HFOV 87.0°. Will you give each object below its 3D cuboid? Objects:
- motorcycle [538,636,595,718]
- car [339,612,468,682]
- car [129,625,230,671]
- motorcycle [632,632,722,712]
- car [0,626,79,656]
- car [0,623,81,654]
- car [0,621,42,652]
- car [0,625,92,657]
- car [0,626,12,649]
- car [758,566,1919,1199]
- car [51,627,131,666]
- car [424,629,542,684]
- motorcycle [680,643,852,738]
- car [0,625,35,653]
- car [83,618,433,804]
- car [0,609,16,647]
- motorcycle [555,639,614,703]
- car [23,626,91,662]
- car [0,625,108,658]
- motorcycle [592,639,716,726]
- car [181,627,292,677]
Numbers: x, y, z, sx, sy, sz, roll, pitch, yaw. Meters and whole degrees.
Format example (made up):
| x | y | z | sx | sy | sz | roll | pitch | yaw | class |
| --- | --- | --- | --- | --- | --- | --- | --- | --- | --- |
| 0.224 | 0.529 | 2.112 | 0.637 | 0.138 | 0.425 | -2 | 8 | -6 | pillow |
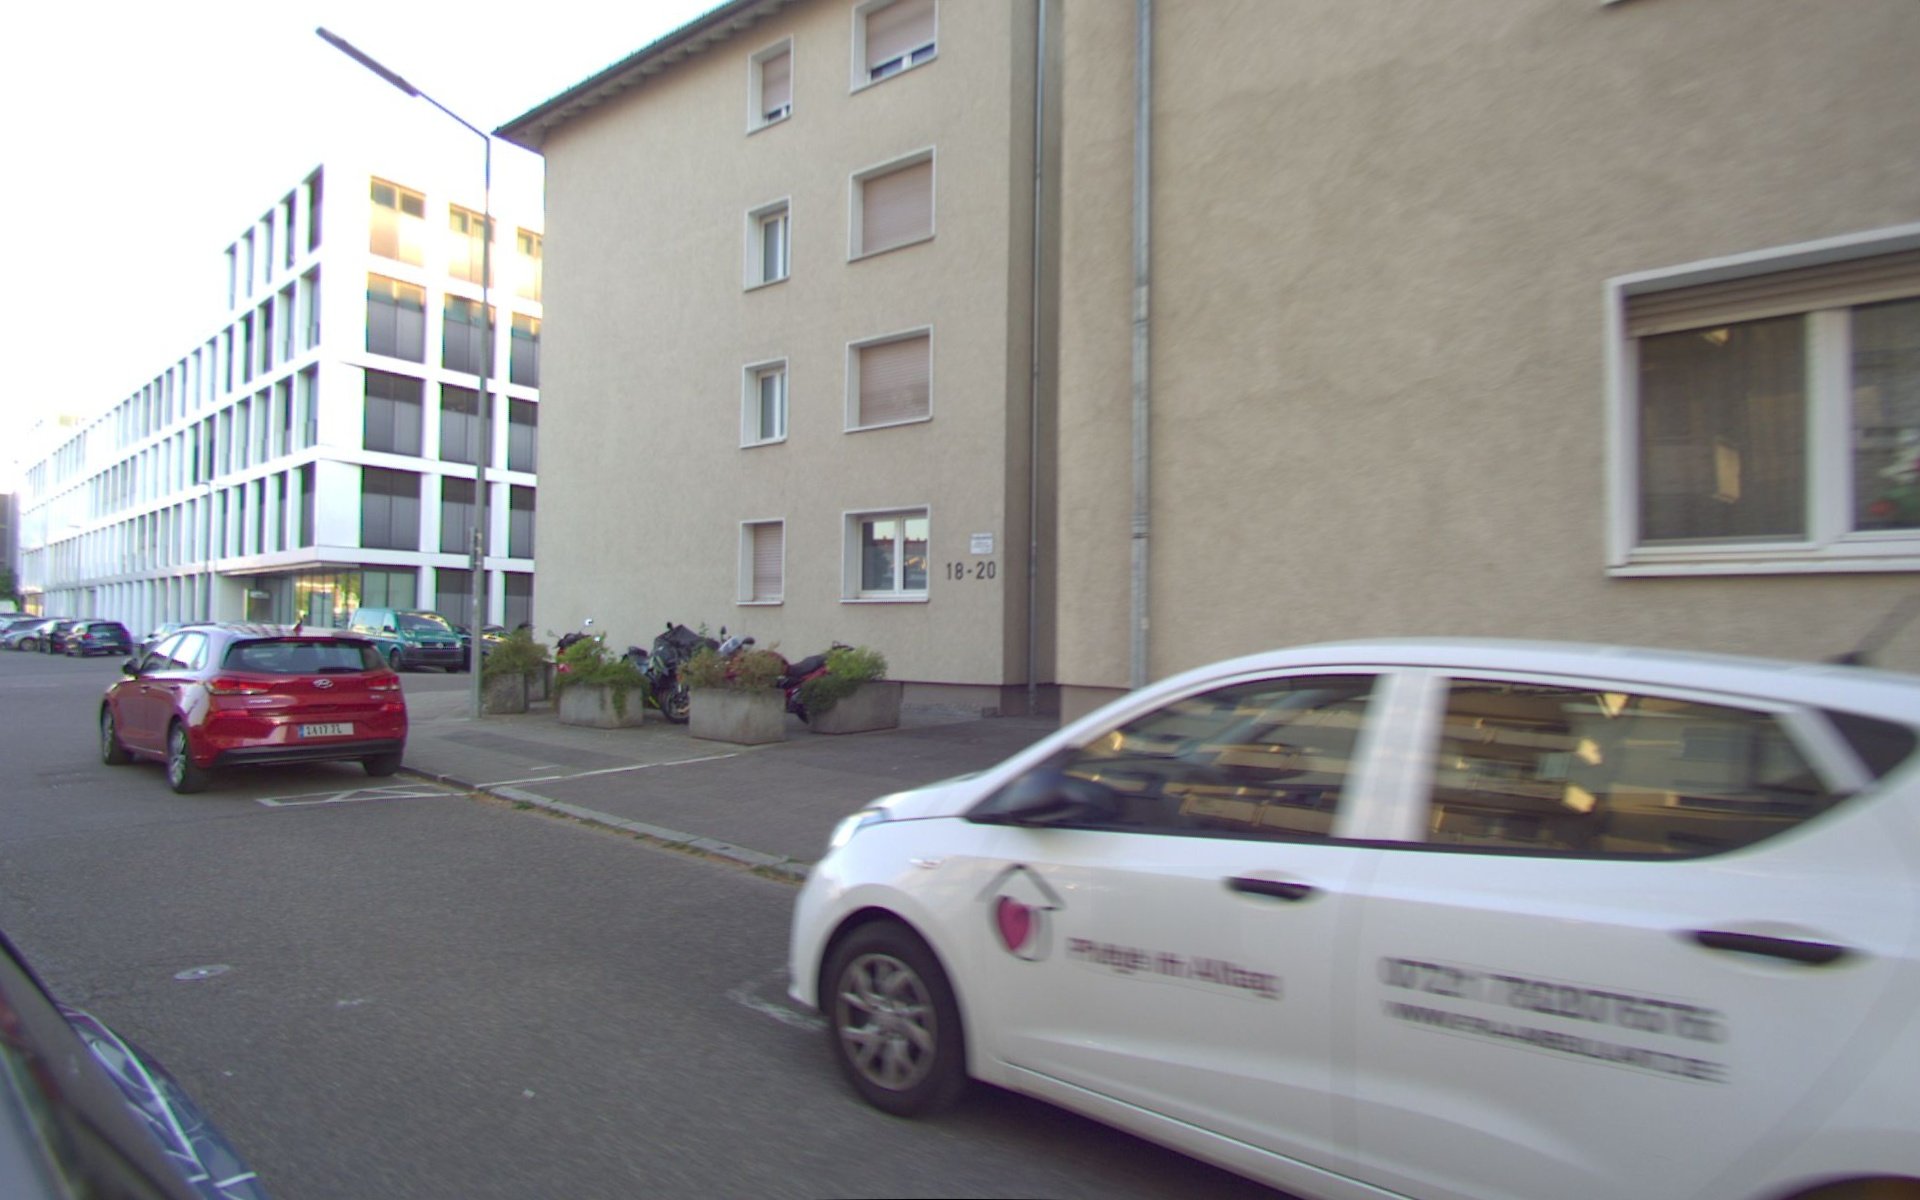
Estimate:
| x | y | z | sx | sy | sz | roll | pitch | yaw | class |
| --- | --- | --- | --- | --- | --- | --- | --- | --- | --- |
| -6.109 | 1.151 | 15.672 | 0.679 | 1.169 | 2.040 | 2 | -2 | -24 | motorcycle |
| -17.530 | 1.432 | 31.812 | 4.682 | 1.995 | 1.781 | 0 | -2 | 38 | car |
| -27.886 | 1.673 | 36.117 | 4.175 | 1.490 | 1.695 | -1 | 0 | 35 | car |
| -4.871 | 1.197 | 17.342 | 0.714 | 1.274 | 2.085 | 2 | -3 | -38 | motorcycle |
| -48.984 | 2.122 | 53.106 | 1.795 | 1.523 | 3.923 | -2 | -2 | 41 | car |
| -47.179 | 1.960 | 51.400 | 1.686 | 1.523 | 3.617 | -2 | -2 | 40 | car |
| -55.077 | 2.056 | 57.180 | 2.004 | 1.719 | 4.568 | -2 | -2 | 43 | car |
| -45.345 | 2.009 | 49.923 | 1.686 | 1.523 | 3.617 | -2 | -2 | 40 | car |
| -63.558 | 2.427 | 64.596 | 1.794 | 1.507 | 4.263 | -2 | -2 | 41 | car |
| 1.208 | 0.754 | 2.839 | 3.502 | 1.484 | 1.599 | -1 | -4 | 40 | car |
| -35.827 | 1.880 | 41.696 | 4.177 | 1.449 | 1.633 | -1 | 1 | 37 | car |
| -15.864 | 1.840 | 33.583 | 4.325 | 1.561 | 1.762 | 1 | -1 | 38 | car |
| -2.419 | 1.107 | 12.811 | 2.096 | 1.114 | 0.561 | 2 | -3 | -38 | motorcycle |
| -53.342 | 2.148 | 55.582 | 1.696 | 1.523 | 3.626 | -2 | -2 | 43 | car |
| -7.133 | 0.951 | 10.137 | 4.075 | 1.484 | 1.826 | -1 | -3 | 40 | car |
| -68.759 | 1.913 | 69.676 | 2.077 | 2.653 | 5.325 | -2 | -2 | 40 | car |
| -6.895 | 1.275 | 18.521 | 0.713 | 1.087 | 2.087 | 2 | -2 | -28 | motorcycle |
| -40.522 | 1.946 | 45.387 | 4.197 | 1.449 | 1.632 | -1 | 1 | 39 | car |
| -43.291 | 1.959 | 48.233 | 1.686 | 1.523 | 3.886 | -2 | -2 | 40 | car |
| -4.243 | 1.099 | 13.950 | 2.034 | 1.087 | 0.674 | -1 | -3 | 43 | motorcycle |
| -23.324 | 1.609 | 32.574 | 4.325 | 1.490 | 1.763 | -1 | -1 | 38 | car |
